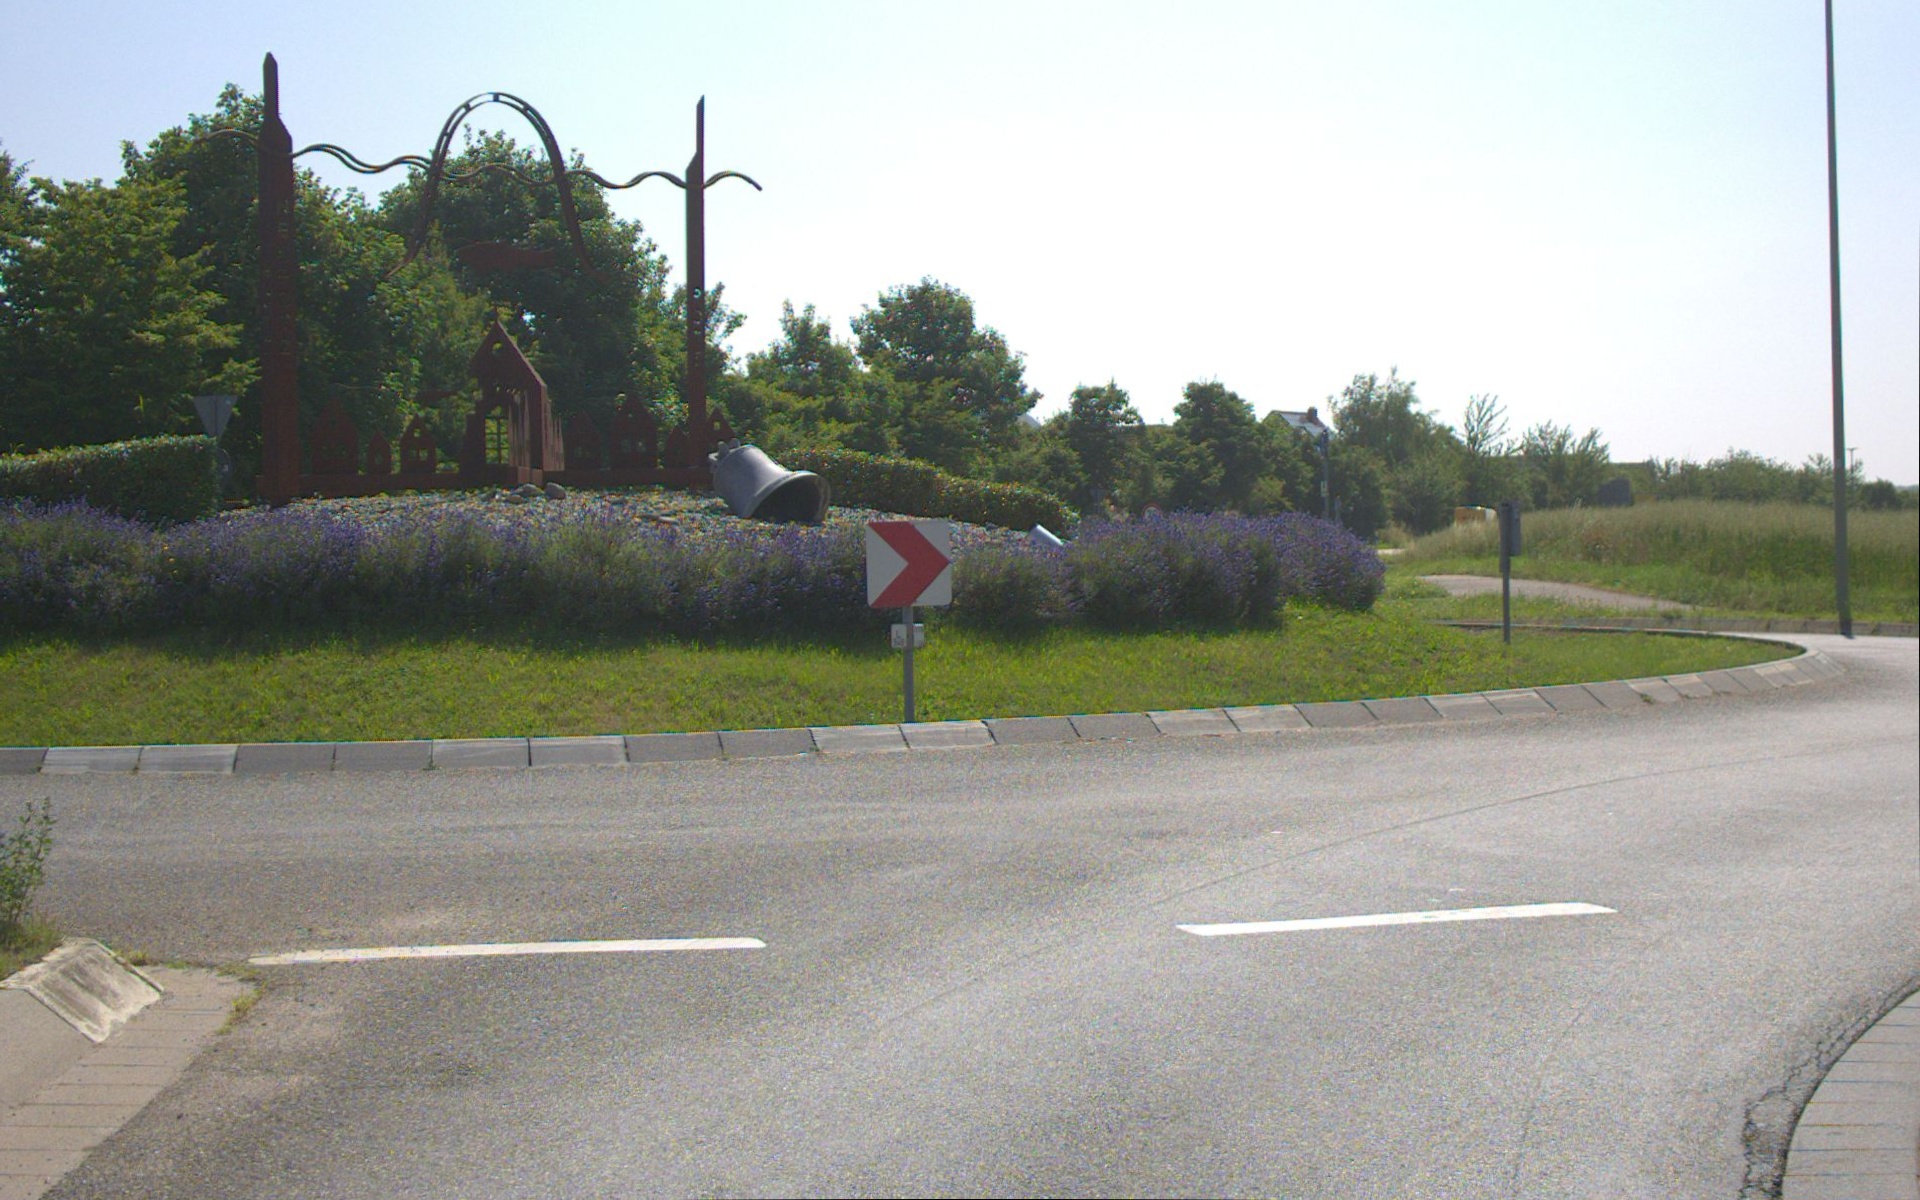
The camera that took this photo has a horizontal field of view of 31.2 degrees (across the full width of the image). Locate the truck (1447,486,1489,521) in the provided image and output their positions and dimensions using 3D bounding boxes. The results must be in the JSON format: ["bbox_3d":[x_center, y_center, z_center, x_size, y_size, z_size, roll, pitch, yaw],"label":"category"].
[{"bbox_3d":[29.675,-5.616,200.923,1.995,2.007,3.998,0,2,15],"label":"truck"}]
